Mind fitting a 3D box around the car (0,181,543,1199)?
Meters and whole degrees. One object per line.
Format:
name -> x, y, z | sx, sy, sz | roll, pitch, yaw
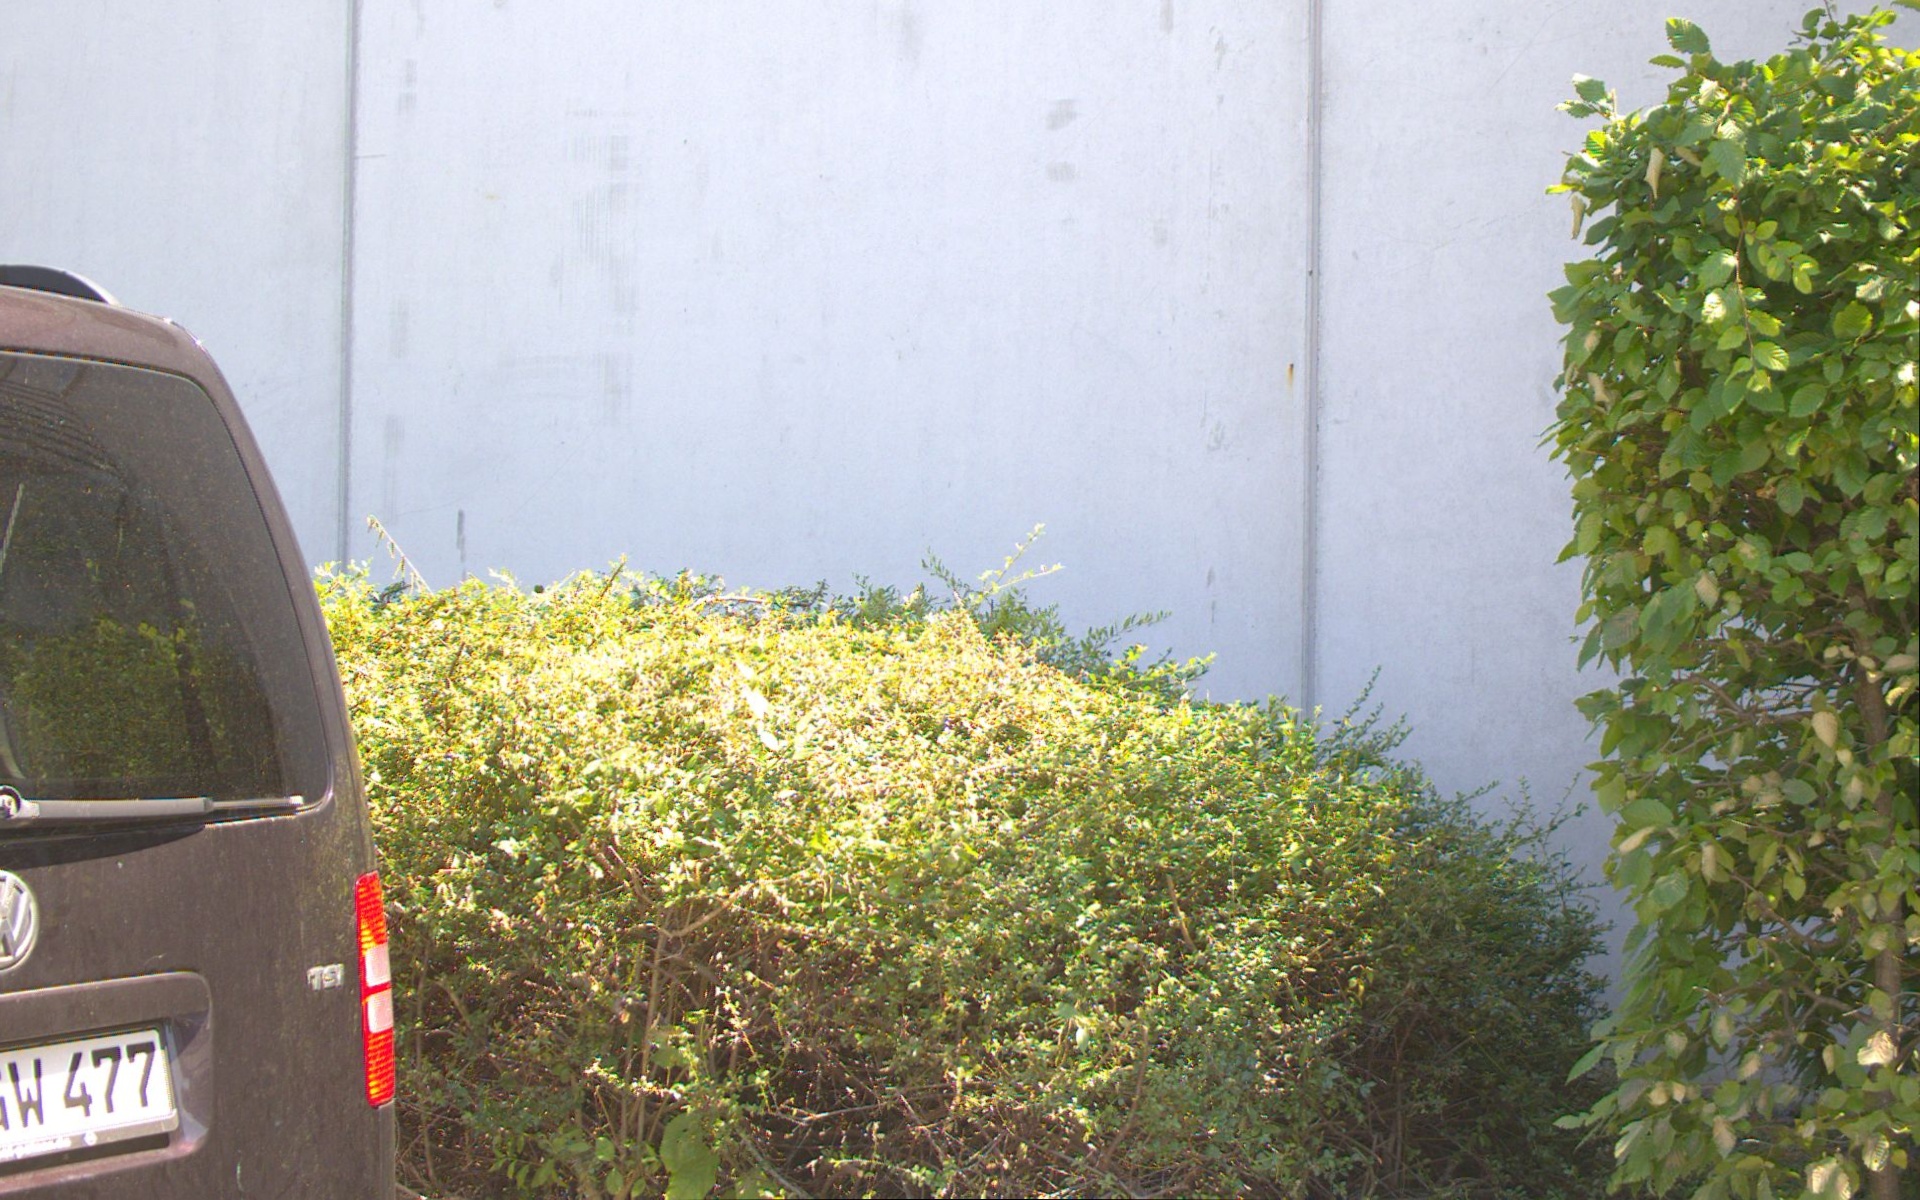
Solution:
car -> -2.689, 0.464, 4.902 | 4.066, 1.877, 1.675 | 1, 1, 35
